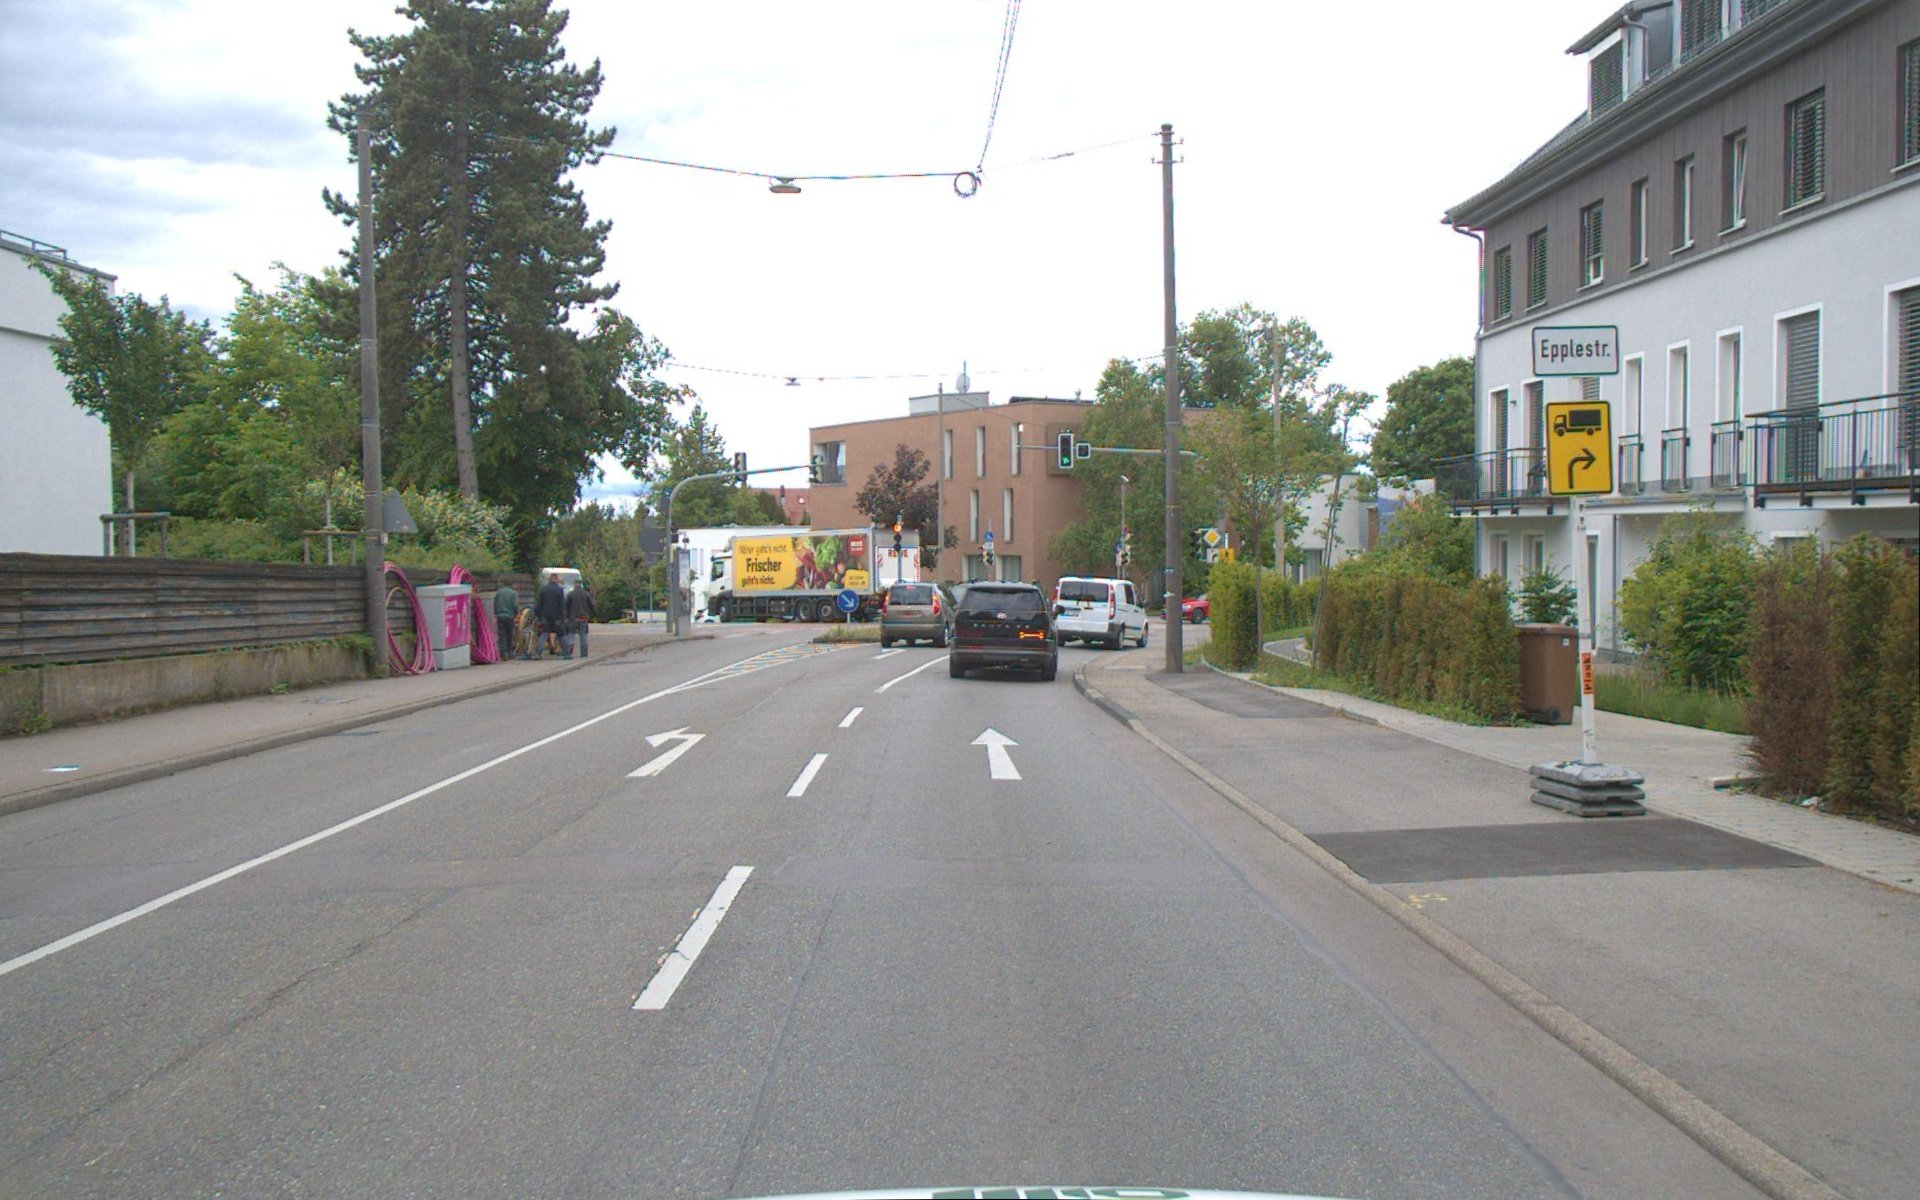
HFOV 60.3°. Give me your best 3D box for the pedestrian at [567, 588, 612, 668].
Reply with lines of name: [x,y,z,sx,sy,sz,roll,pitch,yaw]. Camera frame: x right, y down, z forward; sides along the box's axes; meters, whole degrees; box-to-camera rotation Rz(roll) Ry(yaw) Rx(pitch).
pedestrian: [-8.328,0.629,37.193,0.858,1.784,0.689,0,0,-24]

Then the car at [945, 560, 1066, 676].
car: [0.760,0.284,30.237,1.953,1.914,3.999,2,1,-1]

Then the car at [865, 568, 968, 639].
car: [-1.066,0.097,42.478,1.852,1.736,4.003,0,0,10]

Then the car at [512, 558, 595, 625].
car: [-14.547,-0.287,58.849,2.246,2.266,6.434,0,0,-20]

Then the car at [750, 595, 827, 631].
car: [-9.833,0.737,94.698,3.944,2.049,1.980,0,0,-30]

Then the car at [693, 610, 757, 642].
car: [-15.504,1.710,109.028,3.924,2.049,1.991,0,0,-17]

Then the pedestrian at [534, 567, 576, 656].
pedestrian: [-8.681,0.240,35.470,0.742,1.869,0.608,0,0,-30]

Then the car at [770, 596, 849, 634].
car: [-8.385,0.826,92.001,3.943,2.049,1.981,0,0,-29]

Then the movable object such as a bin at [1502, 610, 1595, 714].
movable object such as a bin: [6.381,0.671,17.945,0.709,1.092,0.673,2,-2,-38]

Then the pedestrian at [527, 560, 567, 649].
pedestrian: [-9.587,0.096,38.407,0.690,2.049,0.813,0,0,2]

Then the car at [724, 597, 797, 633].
car: [-11.929,0.863,98.952,3.942,2.049,1.981,-1,0,-29]

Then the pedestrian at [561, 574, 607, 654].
pedestrian: [-8.352,0.306,36.754,0.683,1.764,0.747,0,0,44]

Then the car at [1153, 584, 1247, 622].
car: [10.204,0.135,70.262,1.965,1.591,4.191,0,0,43]

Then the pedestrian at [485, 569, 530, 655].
pedestrian: [-9.665,0.250,35.315,0.804,1.794,0.861,0,0,-23]

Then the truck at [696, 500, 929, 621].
truck: [-6.504,-1.602,70.758,11.590,4.817,3.115,0,0,43]

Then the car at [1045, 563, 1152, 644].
car: [3.935,0.070,46.195,1.921,2.048,4.430,3,2,18]
